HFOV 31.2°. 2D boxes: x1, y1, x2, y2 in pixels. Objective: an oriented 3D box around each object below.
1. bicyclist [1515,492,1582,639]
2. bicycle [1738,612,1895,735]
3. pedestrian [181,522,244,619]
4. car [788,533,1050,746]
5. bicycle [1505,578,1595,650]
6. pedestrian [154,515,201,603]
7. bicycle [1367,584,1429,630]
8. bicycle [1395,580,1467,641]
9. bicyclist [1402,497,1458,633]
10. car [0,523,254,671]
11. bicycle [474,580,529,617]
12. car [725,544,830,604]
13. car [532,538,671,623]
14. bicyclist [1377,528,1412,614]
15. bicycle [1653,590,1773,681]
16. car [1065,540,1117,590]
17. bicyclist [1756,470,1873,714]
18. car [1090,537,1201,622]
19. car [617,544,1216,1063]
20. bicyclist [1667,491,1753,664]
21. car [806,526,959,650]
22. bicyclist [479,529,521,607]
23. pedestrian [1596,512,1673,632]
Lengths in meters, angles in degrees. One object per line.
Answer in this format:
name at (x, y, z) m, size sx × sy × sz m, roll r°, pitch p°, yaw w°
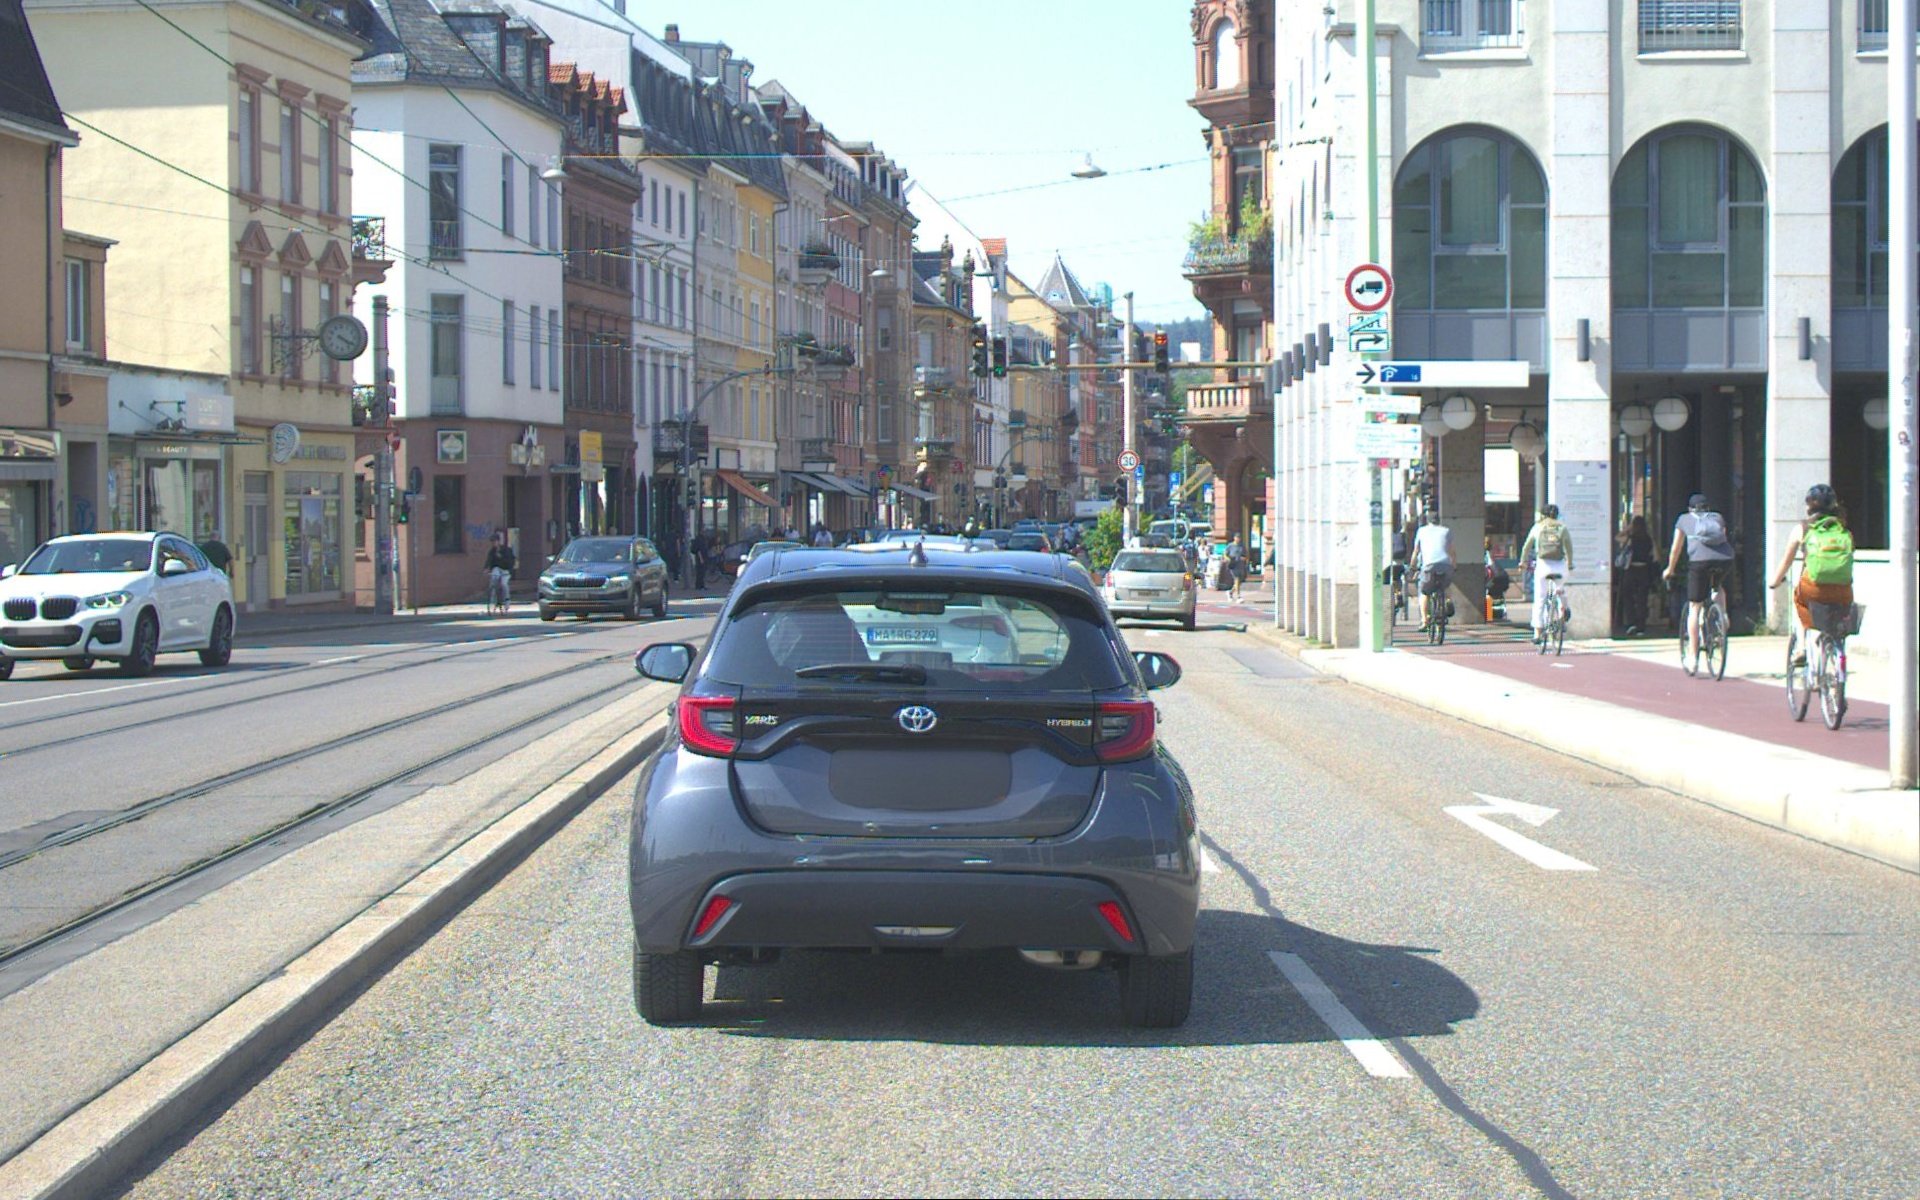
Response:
bicyclist at (6.690, -0.396, 39.103) m, size 0.586 × 1.645 × 0.702 m, roll -1°, pitch 1°, yaw -3°
bicycle at (5.906, 0.490, 23.800) m, size 0.593 × 0.763 × 1.867 m, roll -1°, pitch 1°, yaw 0°
pedestrian at (-13.175, -0.524, 60.611) m, size 0.762 × 1.648 × 0.711 m, roll 4°, pitch 1°, yaw 9°
car at (-0.339, 0.248, 27.235) m, size 1.897 × 1.525 × 4.000 m, roll 1°, pitch 1°, yaw -1°
bicycle at (6.701, 0.149, 39.134) m, size 0.593 × 0.763 × 1.867 m, roll -1°, pitch 1°, yaw -3°
pedestrian at (-14.725, -0.776, 64.711) m, size 0.649 × 1.596 × 0.566 m, roll 4°, pitch 3°, yaw 0°
bicycle at (7.562, 0.113, 59.387) m, size 0.959 × 0.763 × 0.417 m, roll -1°, pitch 1°, yaw 22°
bicycle at (6.344, 0.130, 46.354) m, size 0.593 × 0.763 × 1.867 m, roll -1°, pitch 1°, yaw -3°
bicyclist at (6.330, -0.472, 46.325) m, size 0.586 × 1.814 × 0.702 m, roll -1°, pitch 1°, yaw -3°
car at (-9.701, -0.068, 39.190) m, size 1.994 × 1.581 × 4.652 m, roll 0°, pitch 1°, yaw 5°
bicycle at (-9.849, -0.041, 73.929) m, size 0.620 × 0.713 × 2.044 m, roll 2°, pitch 2°, yaw 9°
car at (-4.547, -0.660, 86.002) m, size 1.994 × 1.427 × 3.999 m, roll 1°, pitch 1°, yaw 6°
car at (-6.703, -0.391, 64.663) m, size 1.794 × 1.540 × 3.920 m, roll 0°, pitch 1°, yaw 7°
bicyclist at (7.506, -0.498, 59.392) m, size 0.442 × 1.461 × 0.484 m, roll -2°, pitch 1°, yaw 21°
bicycle at (6.866, 0.311, 31.425) m, size 0.593 × 0.763 × 1.831 m, roll -1°, pitch 1°, yaw -3°
car at (5.711, -1.547, 149.523) m, size 1.994 × 2.006 × 4.000 m, roll 4°, pitch 1°, yaw 4°
bicyclist at (5.897, -0.060, 23.754) m, size 0.605 × 1.645 × 0.702 m, roll -1°, pitch 1°, yaw 0°
car at (3.364, -0.400, 63.023) m, size 1.705 × 1.461 × 4.326 m, roll 1°, pitch 1°, yaw -1°
car at (-0.160, 0.566, 11.866) m, size 1.720 × 1.468 × 3.658 m, roll 1°, pitch 1°, yaw -1°
bicyclist at (6.859, -0.206, 31.457) m, size 0.586 × 1.553 × 0.702 m, roll -1°, pitch 1°, yaw -3°
car at (-1.015, -0.191, 45.341) m, size 1.897 × 1.525 × 4.000 m, roll 1°, pitch 1°, yaw -1°
bicyclist at (-9.860, -0.684, 73.651) m, size 0.705 × 1.644 × 0.621 m, roll 2°, pitch 2°, yaw 8°
pedestrian at (9.424, -0.389, 48.035) m, size 0.739 × 1.609 × 1.016 m, roll 4°, pitch 1°, yaw -1°
